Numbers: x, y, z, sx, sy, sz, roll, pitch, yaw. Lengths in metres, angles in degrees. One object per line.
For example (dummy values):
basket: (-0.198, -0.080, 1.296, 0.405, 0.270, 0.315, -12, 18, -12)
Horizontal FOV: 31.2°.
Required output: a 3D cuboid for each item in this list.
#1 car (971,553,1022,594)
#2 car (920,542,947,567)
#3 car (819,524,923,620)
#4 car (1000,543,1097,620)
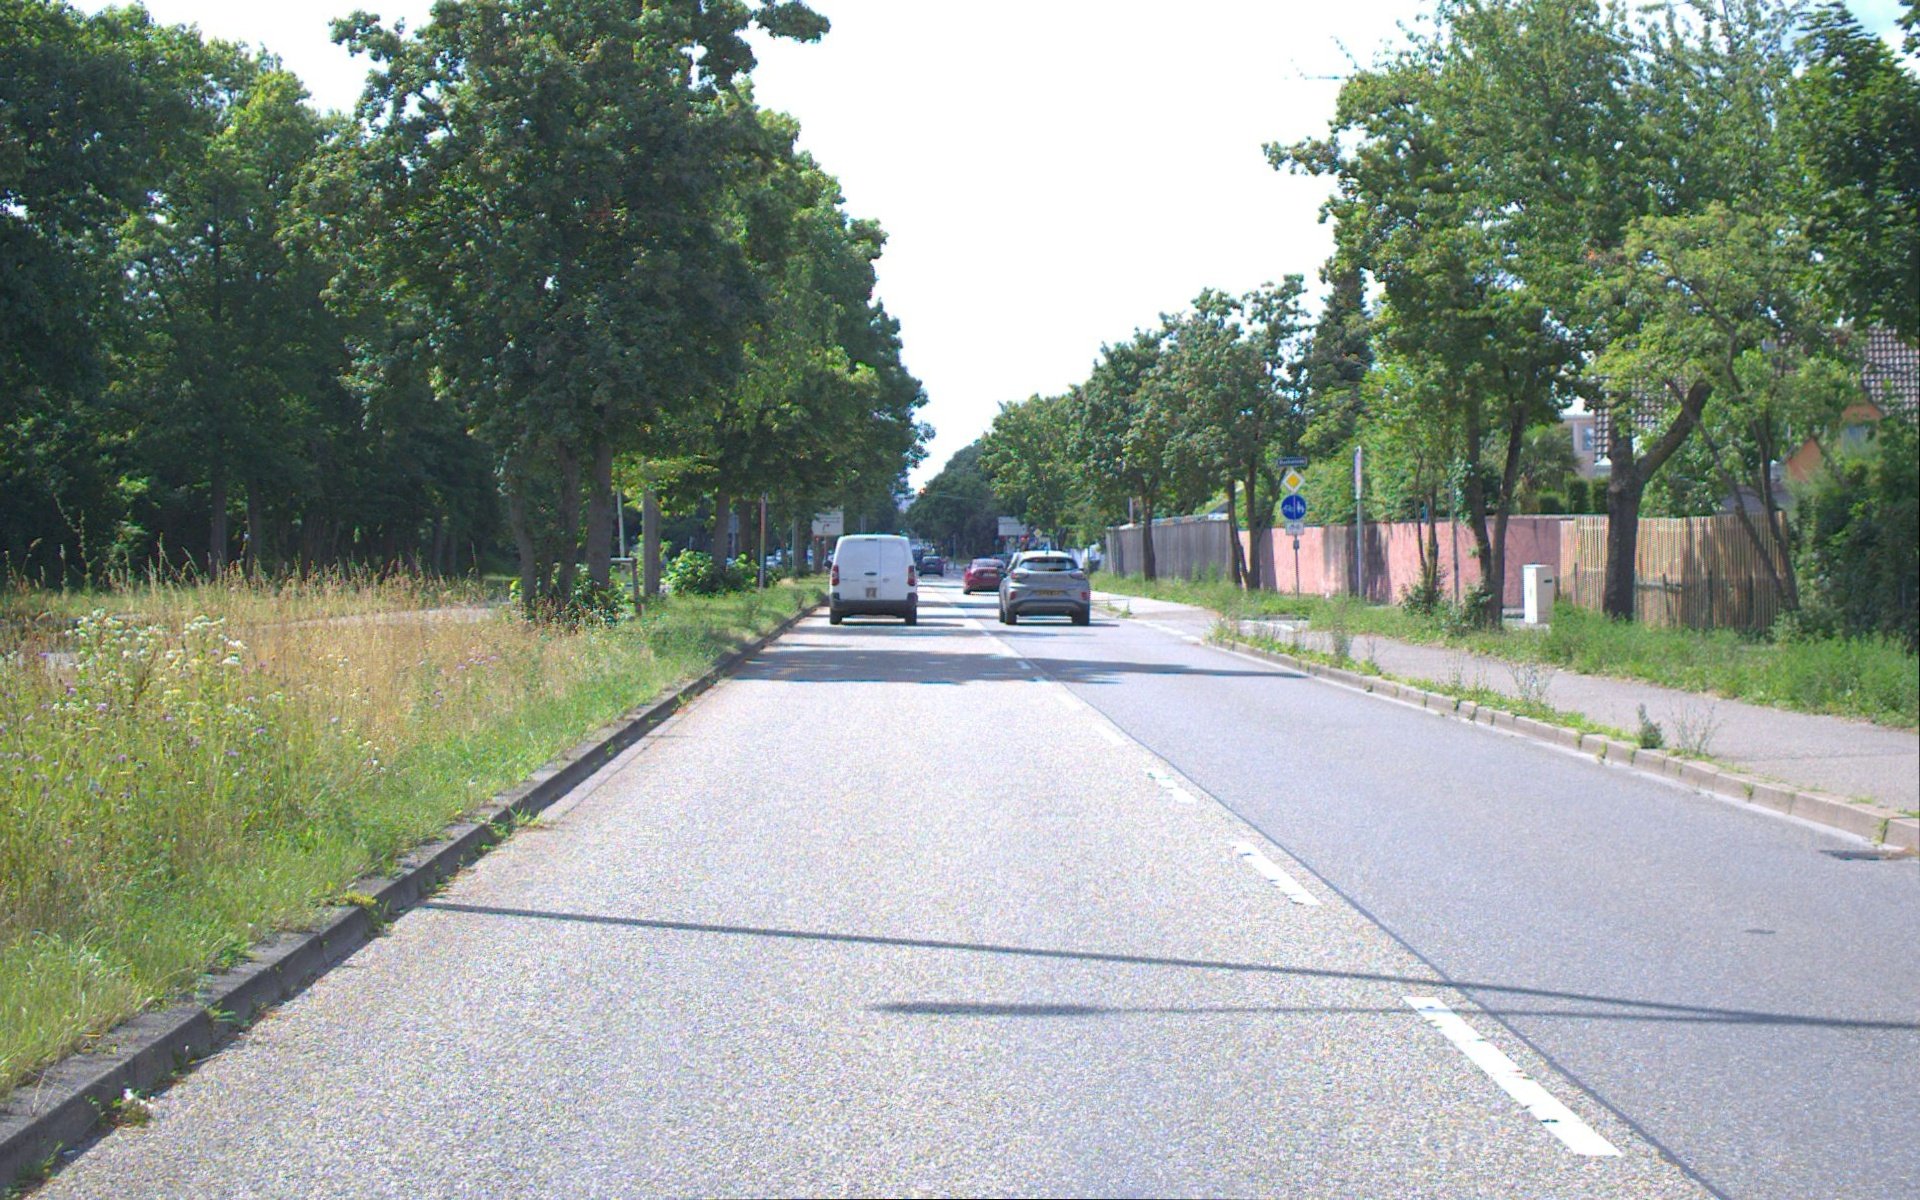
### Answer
car: (1.416, -1.052, 135.465, 1.880, 1.581, 4.000, 0, 1, -1)
car: (-2.009, -3.463, 260.832, 1.993, 1.766, 4.147, 1, 1, -1)
car: (-1.820, -0.608, 71.193, 2.066, 1.905, 4.647, 0, 1, -1)
car: (1.831, -0.408, 72.430, 1.875, 1.583, 4.185, 0, 1, -1)
